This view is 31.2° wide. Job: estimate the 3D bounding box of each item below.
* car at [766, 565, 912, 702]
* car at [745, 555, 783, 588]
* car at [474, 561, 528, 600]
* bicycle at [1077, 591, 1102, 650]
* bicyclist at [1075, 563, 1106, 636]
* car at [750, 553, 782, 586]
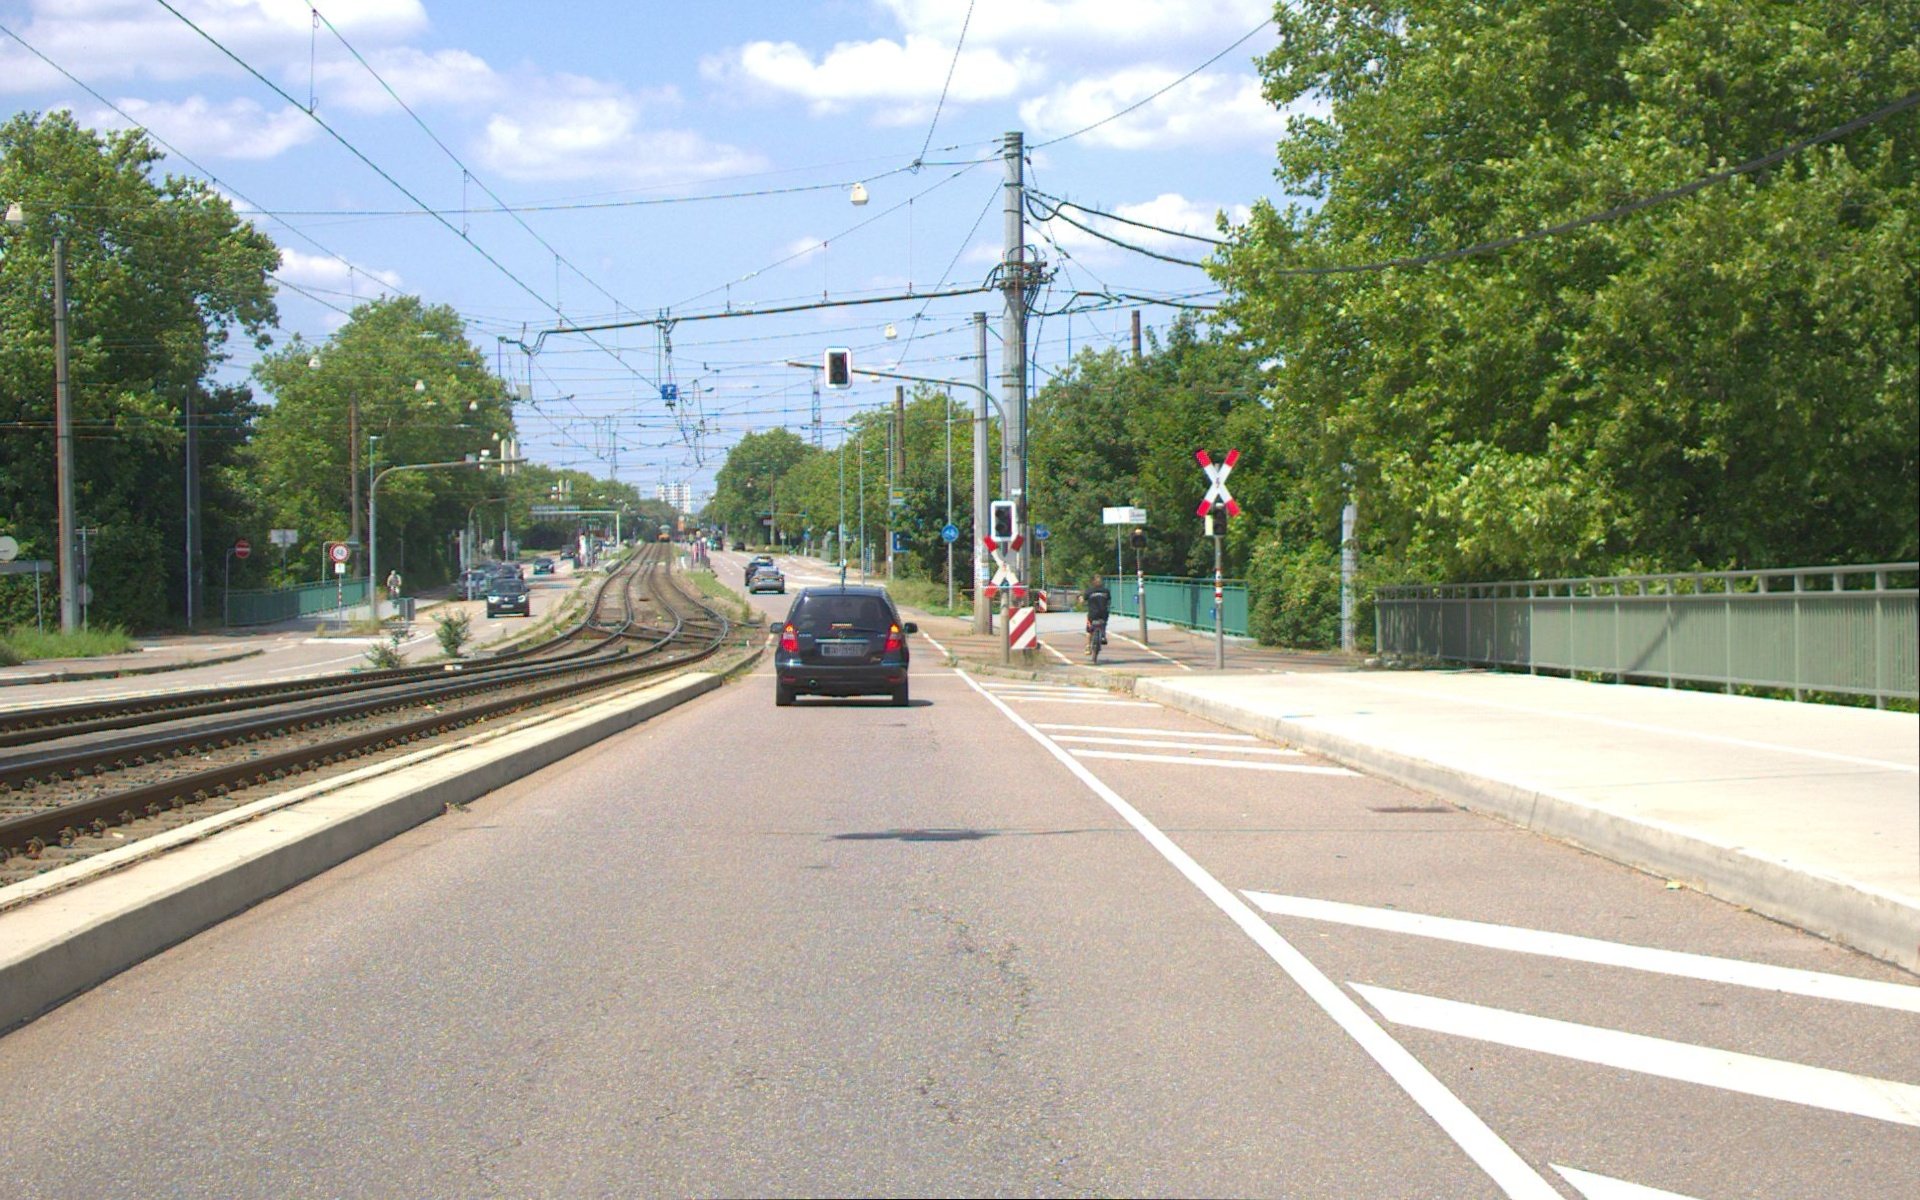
[{"bbox_3d":[-1.610,0.410,46.397,1.853,1.564,4.389,1,3,-1],"label":"car"},{"bbox_3d":[-10.914,-1.598,191.618,1.884,1.634,4.001,3,2,-1],"label":"car"},{"bbox_3d":[-18.645,-0.795,139.753,1.705,1.505,3.733,-1,0,-1],"label":"car"},{"bbox_3d":[2.685,0.417,71.588,0.432,1.148,1.855,1,2,0],"label":"bicycle"},{"bbox_3d":[2.712,-0.023,71.482,0.585,1.489,0.558,1,2,0],"label":"bicyclist"},{"bbox_3d":[-12.714,-2.035,225.776,1.993,2.006,4.001,1,2,-2],"label":"car"}]
